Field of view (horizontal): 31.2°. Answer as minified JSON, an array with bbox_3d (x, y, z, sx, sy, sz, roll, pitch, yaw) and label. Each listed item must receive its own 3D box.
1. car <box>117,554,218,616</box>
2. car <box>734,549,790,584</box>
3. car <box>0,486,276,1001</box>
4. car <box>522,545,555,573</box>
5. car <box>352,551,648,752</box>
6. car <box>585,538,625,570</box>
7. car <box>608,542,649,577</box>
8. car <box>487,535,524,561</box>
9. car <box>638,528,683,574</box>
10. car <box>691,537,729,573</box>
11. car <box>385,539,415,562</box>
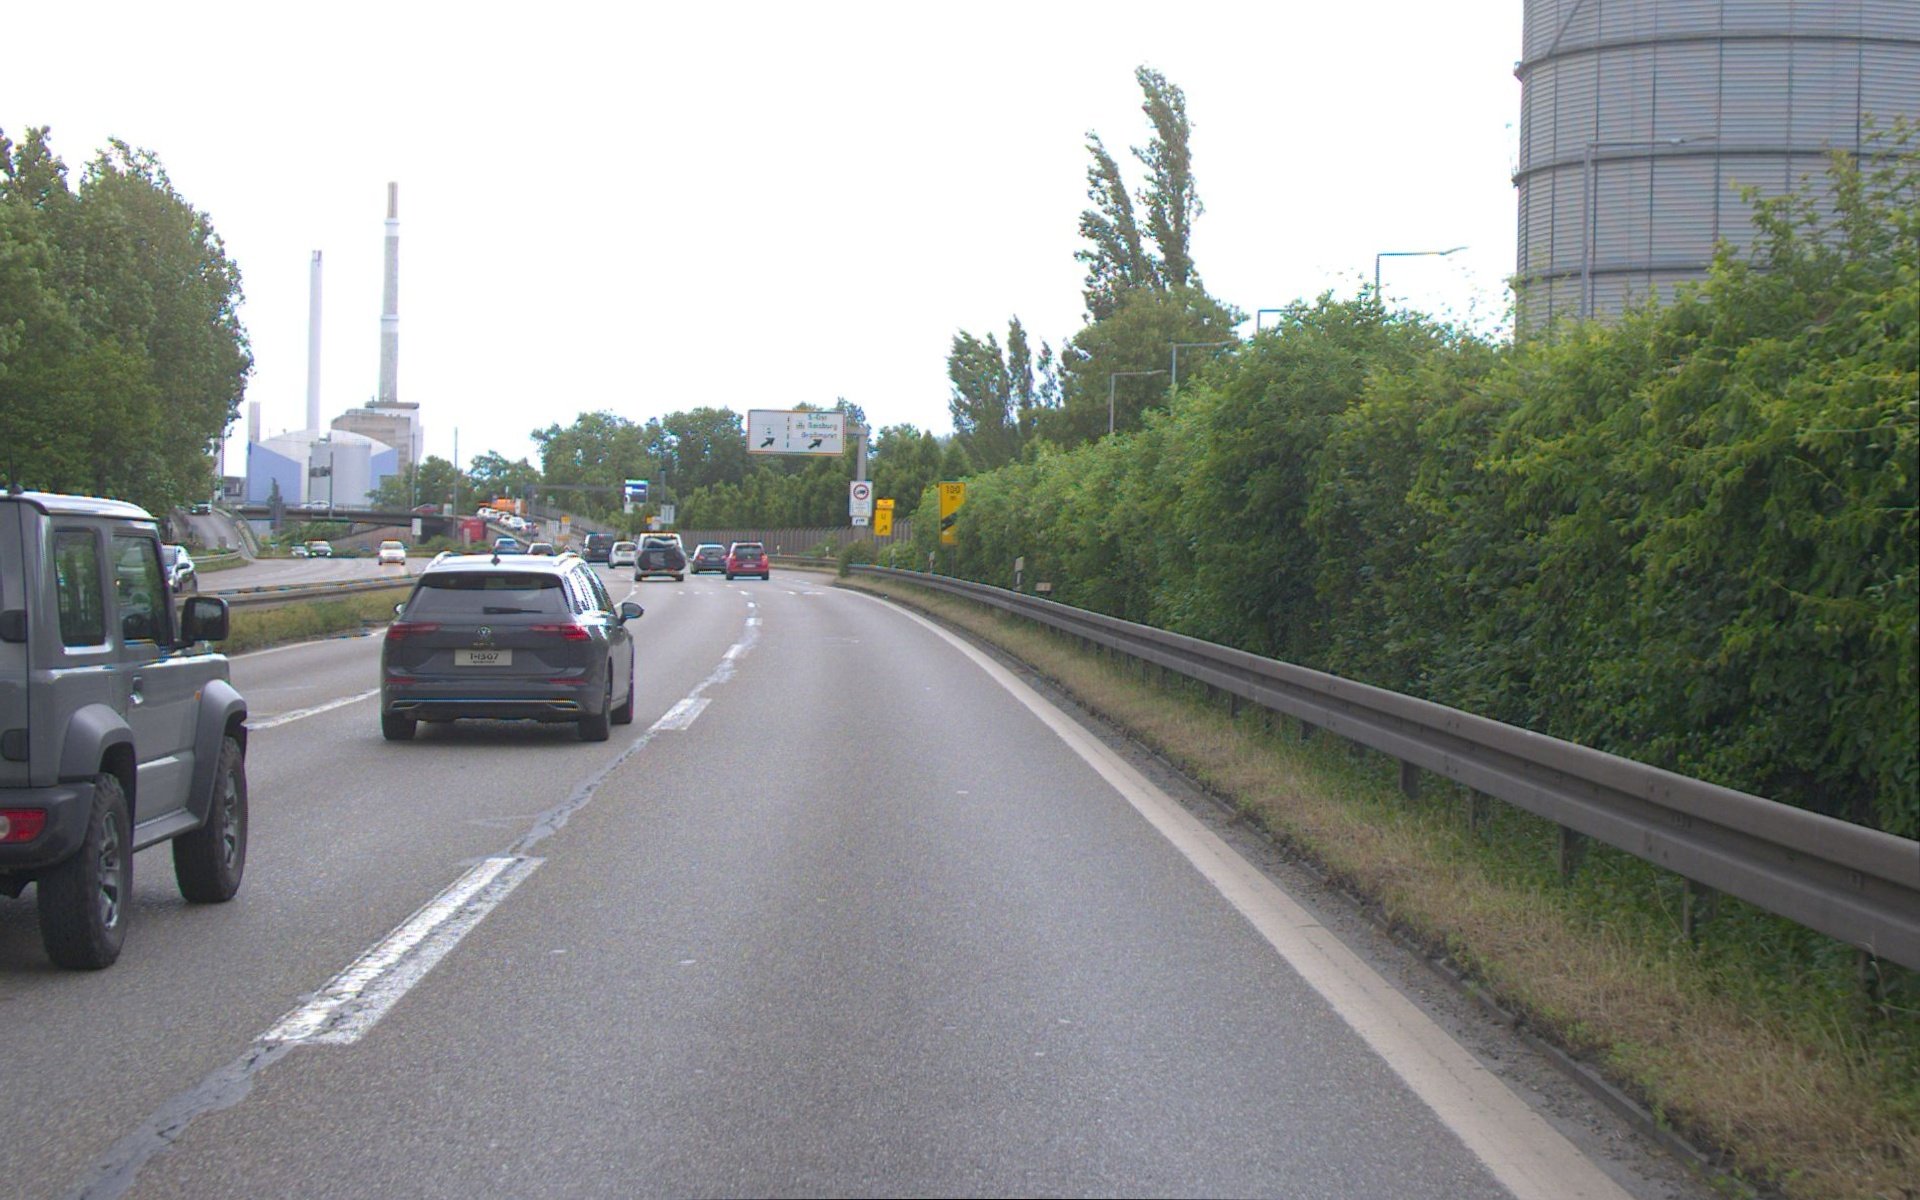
[{"bbox_3d":[-18.967,-0.377,82.409,1.660,1.419,3.912,1,1,-2],"label":"car"},{"bbox_3d":[-8.169,-1.392,141.374,1.974,1.418,4.901,0,1,-7],"label":"car"},{"bbox_3d":[-3.790,0.435,13.179,1.697,1.680,4.001,0,1,-3],"label":"car"},{"bbox_3d":[-26.949,-2.621,219.931,1.697,1.736,4.394,0,1,-12],"label":"car"},{"bbox_3d":[-3.626,0.348,27.868,1.845,1.418,4.901,2,1,-2],"label":"car"},{"bbox_3d":[-22.410,-2.906,216.669,2.013,1.927,4.902,0,1,-12],"label":"car"},{"bbox_3d":[-19.014,-2.325,196.990,2.013,1.927,4.902,0,1,-10],"label":"car"},{"bbox_3d":[-34.392,-3.966,260.025,2.013,1.927,4.902,0,1,-16],"label":"car"},{"bbox_3d":[-11.731,-1.912,134.410,1.697,1.736,4.001,0,1,-6],"label":"car"},{"bbox_3d":[-12.252,-2.233,168.388,1.697,1.736,4.394,0,1,-6],"label":"car"},{"bbox_3d":[-35.506,-3.156,217.916,1.614,1.381,3.733,1,1,-6],"label":"car"}]
